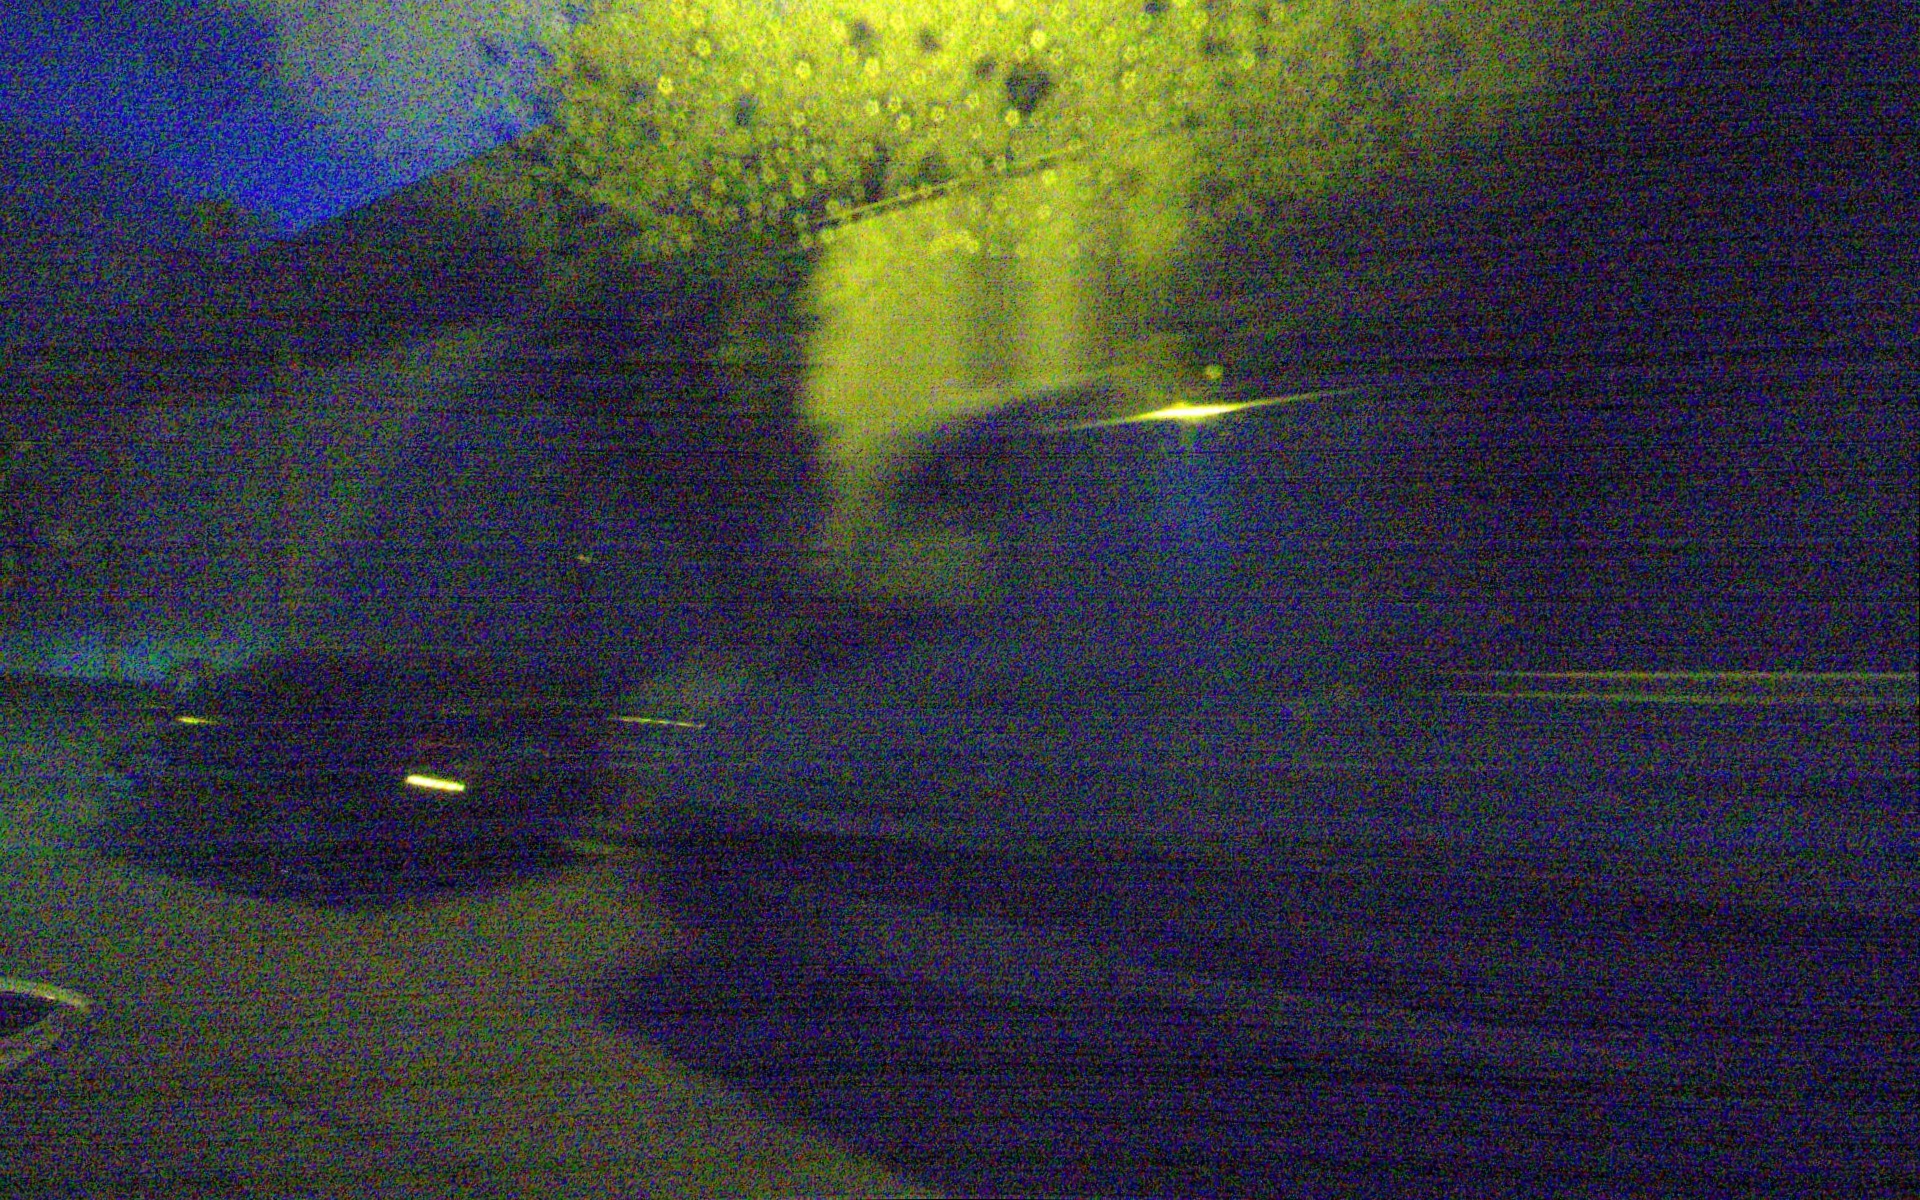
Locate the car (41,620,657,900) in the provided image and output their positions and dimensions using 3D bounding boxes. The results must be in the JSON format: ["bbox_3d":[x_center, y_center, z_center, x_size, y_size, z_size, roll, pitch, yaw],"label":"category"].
[{"bbox_3d":[-4.552,0.908,7.205,4.839,1.425,1.827,-1,-4,33],"label":"car"}]

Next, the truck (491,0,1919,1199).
[{"bbox_3d":[1.328,0.238,3.579,6.504,2.627,2.397,-1,-1,33],"label":"truck"}]
